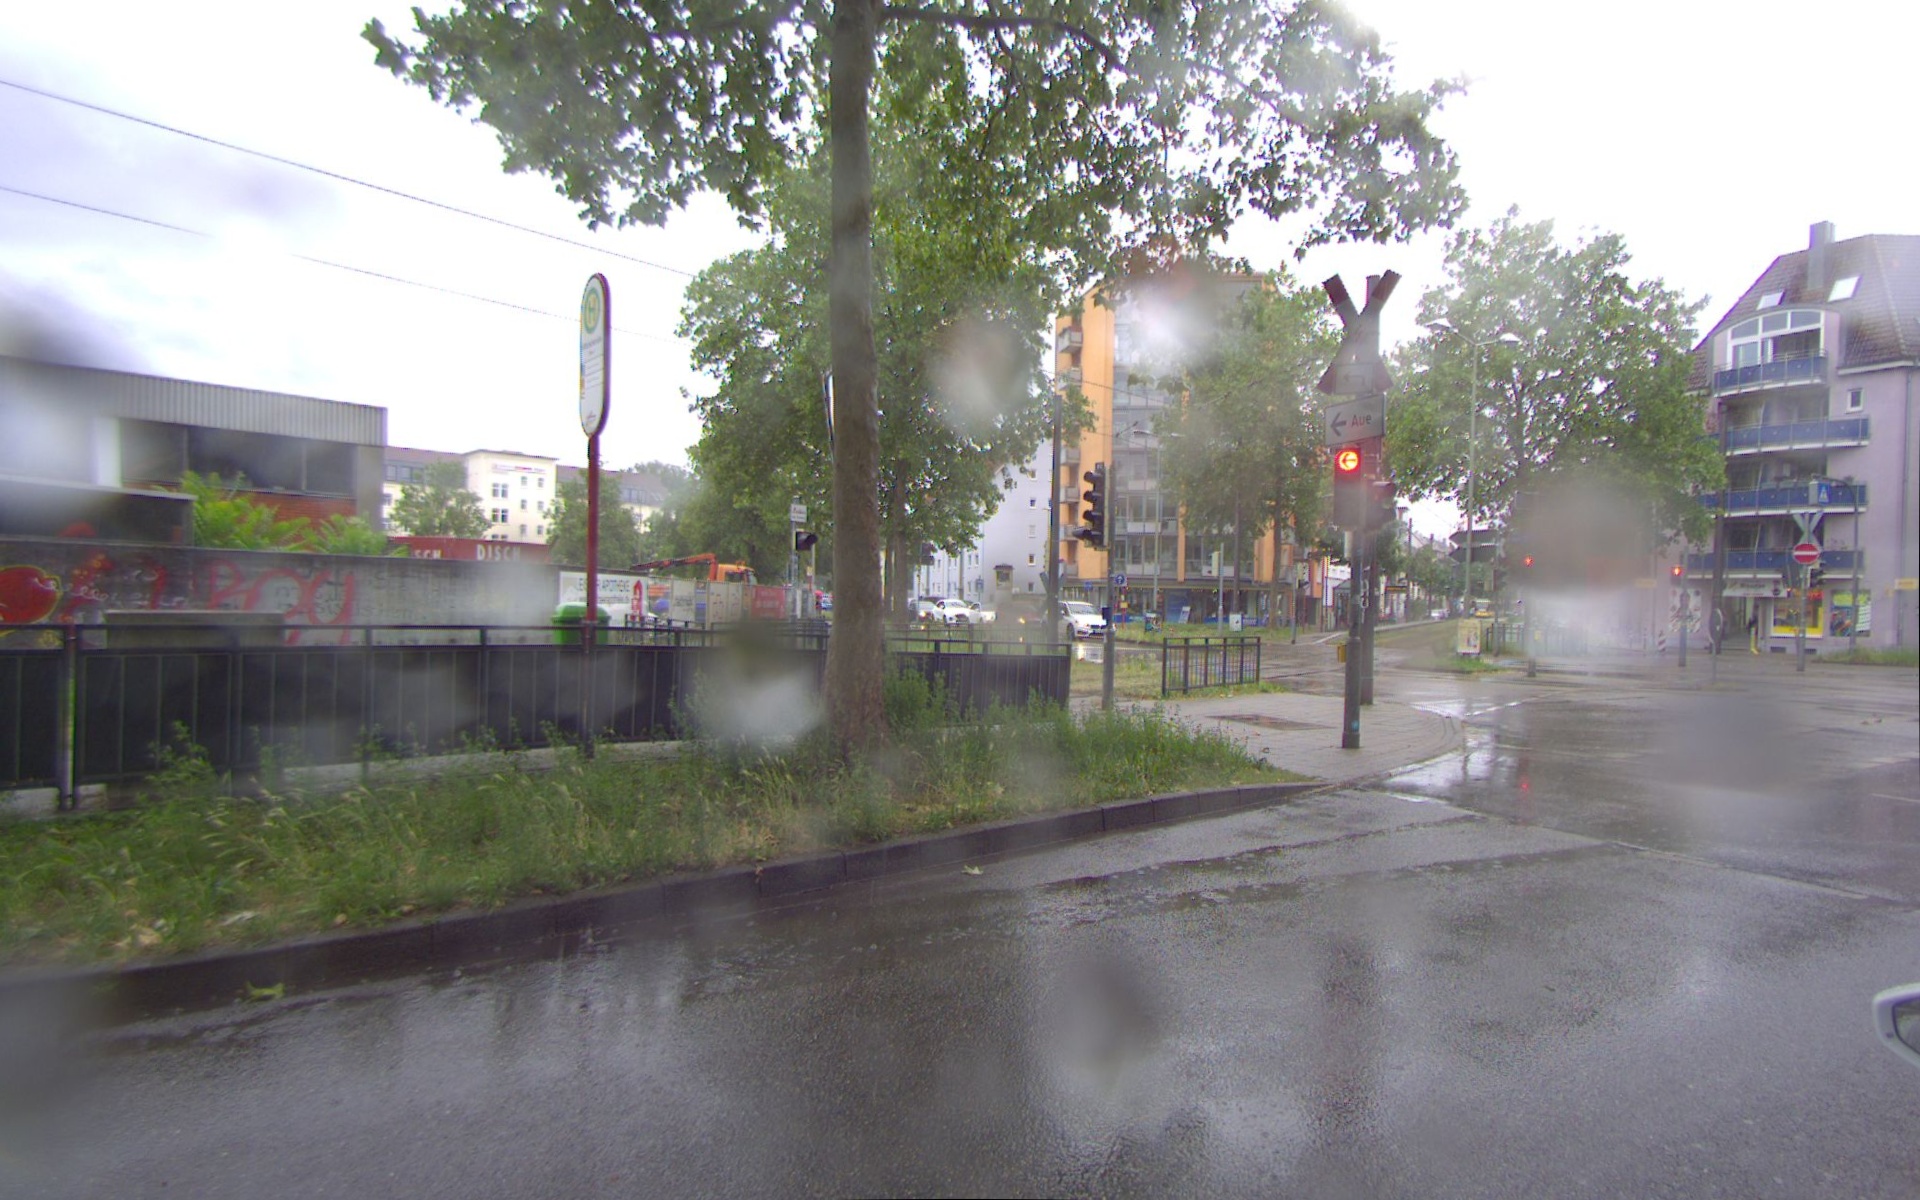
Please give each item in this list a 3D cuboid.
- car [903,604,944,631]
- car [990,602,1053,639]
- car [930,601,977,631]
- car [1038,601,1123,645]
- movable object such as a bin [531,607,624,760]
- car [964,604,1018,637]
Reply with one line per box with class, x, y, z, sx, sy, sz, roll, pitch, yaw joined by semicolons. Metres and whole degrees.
car;-2.400;1.151;64.406;1.697;1.661;3.780;1;-1;-17
car;2.787;0.950;46.623;1.697;1.661;3.780;1;-1;-17
car;-0.392;0.924;58.302;1.697;1.661;3.780;1;-1;-17
car;4.788;0.933;40.379;1.941;1.673;4.004;1;-1;-17
movable object such as a bin;-2.889;0.613;7.592;0.412;1.104;0.528;-1;-1;44
car;1.558;1.093;52.393;1.697;1.661;3.780;1;-1;-17
